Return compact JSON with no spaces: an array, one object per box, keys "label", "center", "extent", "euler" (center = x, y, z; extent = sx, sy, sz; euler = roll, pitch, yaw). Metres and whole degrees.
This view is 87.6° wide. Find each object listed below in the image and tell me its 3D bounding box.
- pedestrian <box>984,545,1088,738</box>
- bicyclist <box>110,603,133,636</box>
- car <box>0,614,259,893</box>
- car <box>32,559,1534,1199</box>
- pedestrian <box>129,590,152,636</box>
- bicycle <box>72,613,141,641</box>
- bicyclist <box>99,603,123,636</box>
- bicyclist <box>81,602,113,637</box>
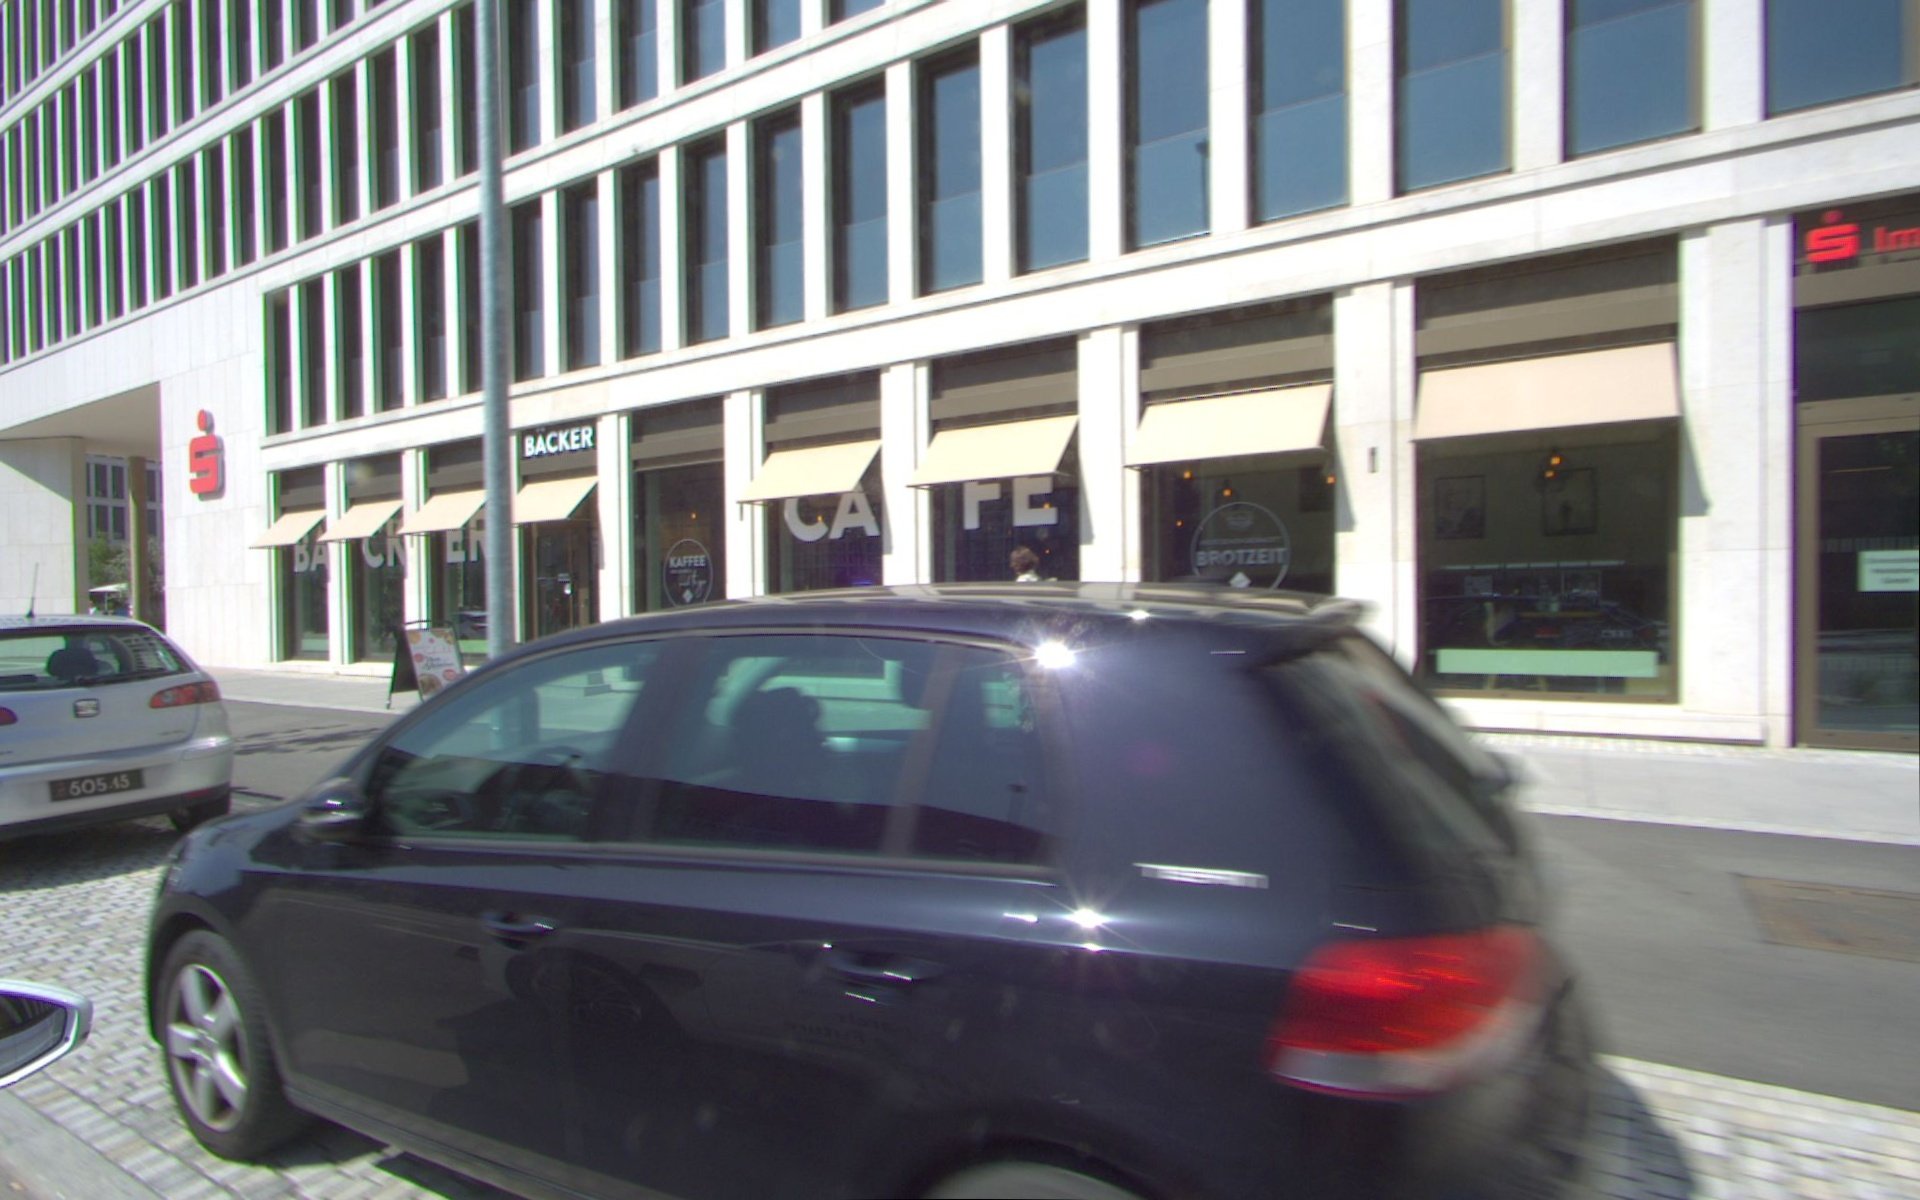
[{"label":"pedestrian","center":[0.734,0.386,9.655],"extent":[0.802,1.765,0.626],"euler":[0,0,32]},{"label":"bicyclist","center":[-34.691,0.804,41.427],"extent":[0.886,1.378,0.358],"euler":[0,0,21]},{"label":"car","center":[-6.413,0.832,6.573],"extent":[3.760,1.407,1.601],"euler":[-1,2,32]},{"label":"car","center":[-0.650,0.693,2.875],"extent":[3.919,1.494,1.734],"euler":[-1,2,28]},{"label":"pedestrian","center":[-36.880,0.598,45.081],"extent":[0.613,2.040,0.642],"euler":[0,0,32]},{"label":"bicycle","center":[-34.865,1.084,40.949],"extent":[0.889,1.098,1.963],"euler":[0,0,21]},{"label":"bicyclist","center":[-34.820,0.801,41.078],"extent":[0.898,1.378,0.358],"euler":[0,0,21]},{"label":"bicyclist","center":[-34.996,0.790,40.611],"extent":[0.885,1.378,0.616],"euler":[0,0,21]}]
